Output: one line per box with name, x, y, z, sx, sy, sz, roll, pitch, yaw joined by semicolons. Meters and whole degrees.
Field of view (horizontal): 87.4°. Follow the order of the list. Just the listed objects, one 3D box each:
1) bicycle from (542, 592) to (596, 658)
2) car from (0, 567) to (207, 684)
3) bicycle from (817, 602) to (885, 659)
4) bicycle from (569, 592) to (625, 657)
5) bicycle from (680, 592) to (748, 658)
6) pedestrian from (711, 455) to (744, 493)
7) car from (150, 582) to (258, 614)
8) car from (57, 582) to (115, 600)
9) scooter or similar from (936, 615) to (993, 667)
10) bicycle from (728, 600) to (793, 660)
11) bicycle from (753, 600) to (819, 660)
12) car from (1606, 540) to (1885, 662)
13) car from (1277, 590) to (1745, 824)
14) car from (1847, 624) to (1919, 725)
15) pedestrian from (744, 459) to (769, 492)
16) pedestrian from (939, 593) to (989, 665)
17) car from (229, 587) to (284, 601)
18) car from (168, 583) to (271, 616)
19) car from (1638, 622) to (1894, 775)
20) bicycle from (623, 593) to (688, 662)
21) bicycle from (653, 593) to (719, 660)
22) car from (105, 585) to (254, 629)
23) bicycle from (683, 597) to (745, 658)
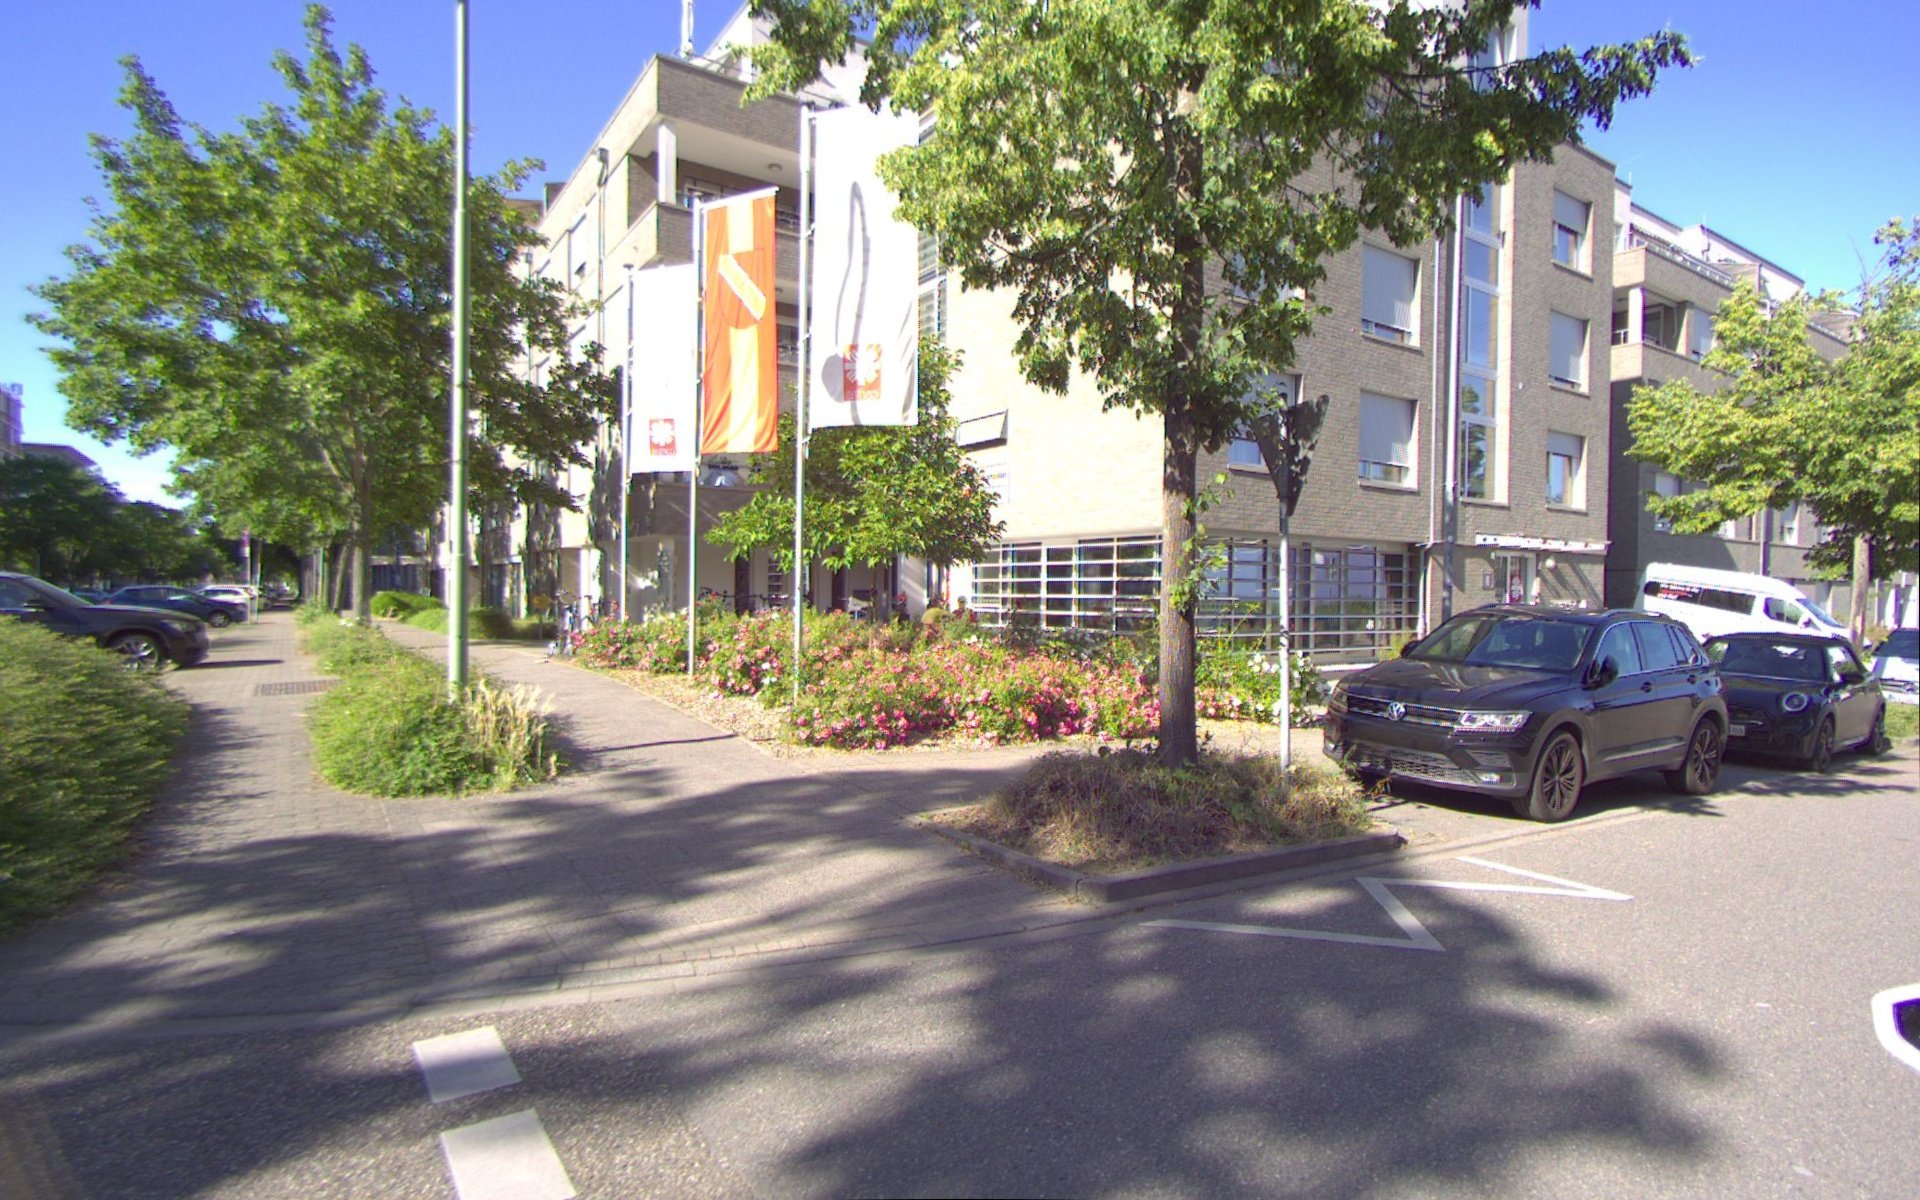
bicycle;-6.806;0.406;17.424;0.434;1.061;2.172;-1;1;-33
car;-13.219;0.328;14.042;4.162;1.540;1.755;-1;1;-34
bicycle;-2.238;0.596;20.408;0.434;1.061;2.172;-1;1;-33
bicycle;-6.415;0.404;17.702;0.434;1.061;2.172;-1;1;-33
bicycle;-4.265;0.401;17.326;0.434;1.061;2.172;-1;1;-33
pedestrian;-5.509;-2.981;23.814;0.678;0.809;0.359;-1;1;-42
car;-37.524;-0.091;49.997;4.230;1.500;1.782;0;0;-35
car;-85.940;-0.885;98.795;4.127;1.729;1.979;-1;1;-37
scooter or similar;0.085;0.791;19.865;0.797;0.967;0.860;-1;1;-34
bicycle;-3.847;0.546;19.212;0.434;1.061;2.172;-1;1;-33
bicycle;-3.408;0.553;19.513;0.434;1.061;2.172;-1;1;-33
car;21.038;-0.080;27.205;1.904;2.415;5.405;1;8;-37
car;5.044;0.809;9.030;4.292;1.641;1.876;2;0;-33
car;16.750;1.215;17.165;4.249;1.553;1.646;1;0;-38
pedestrian;-4.762;-2.911;23.528;0.413;0.695;0.422;-1;1;-43
pedestrian;0.078;0.554;19.831;0.663;1.379;0.738;1;0;-33
car;-82.247;-0.728;117.545;5.200;1.647;1.935;0;1;-33
car;-38.849;-0.066;52.832;4.194;1.624;1.934;-2;2;-34
car;9.779;1.059;12.098;3.756;1.524;1.566;1;0;-38
bicycle;-5.108;0.429;16.778;0.434;1.061;2.172;-1;1;-33
bicycle;-4.678;0.414;17.062;0.434;1.061;2.172;-1;1;-33
car;-26.798;0.201;34.634;3.964;1.430;1.797;-1;1;-38
bicycle;-4.667;0.486;18.974;0.434;1.061;2.172;-1;1;-33
